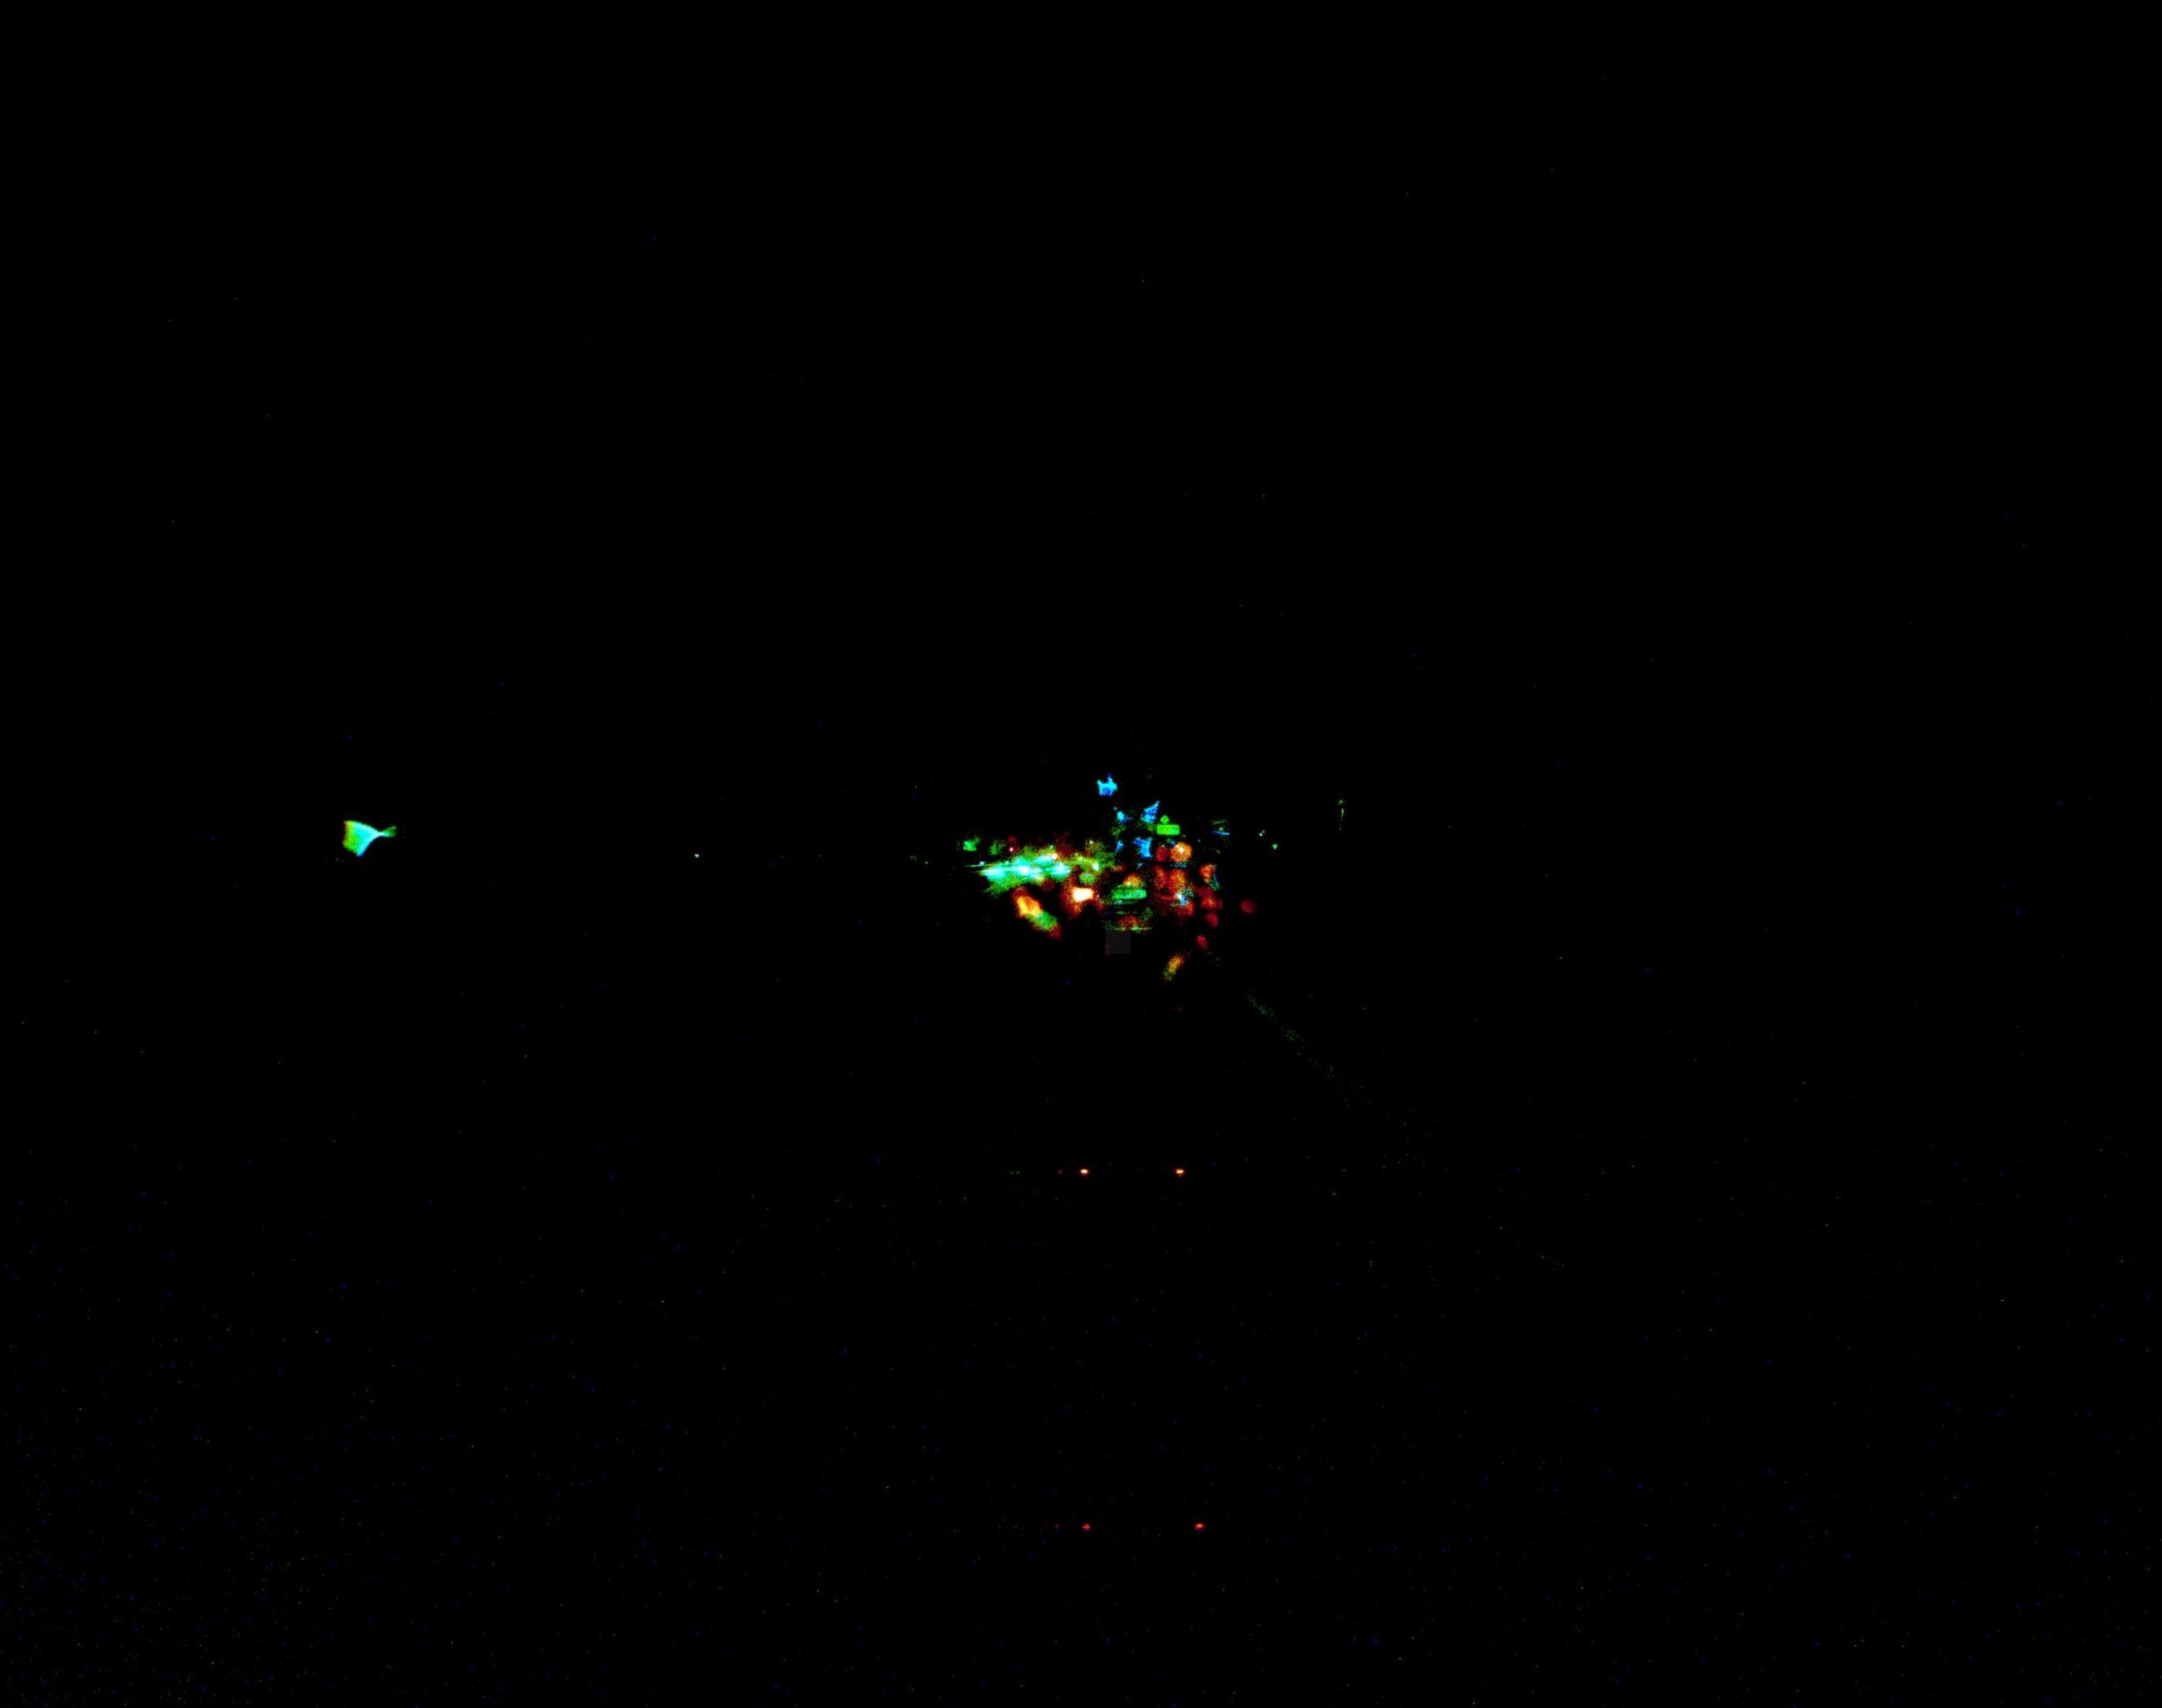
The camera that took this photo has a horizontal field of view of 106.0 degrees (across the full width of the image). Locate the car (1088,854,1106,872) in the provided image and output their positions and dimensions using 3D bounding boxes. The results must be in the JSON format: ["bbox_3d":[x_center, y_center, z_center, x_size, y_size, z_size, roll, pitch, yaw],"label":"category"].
[{"bbox_3d":[1.905,1.089,96.537,1.988,2.014,3.997,-2,-3,-1],"label":"car"}]

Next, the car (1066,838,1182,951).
[{"bbox_3d":[0.736,0.641,14.524,1.768,1.712,4.002,-1,-1,2],"label":"car"}]
